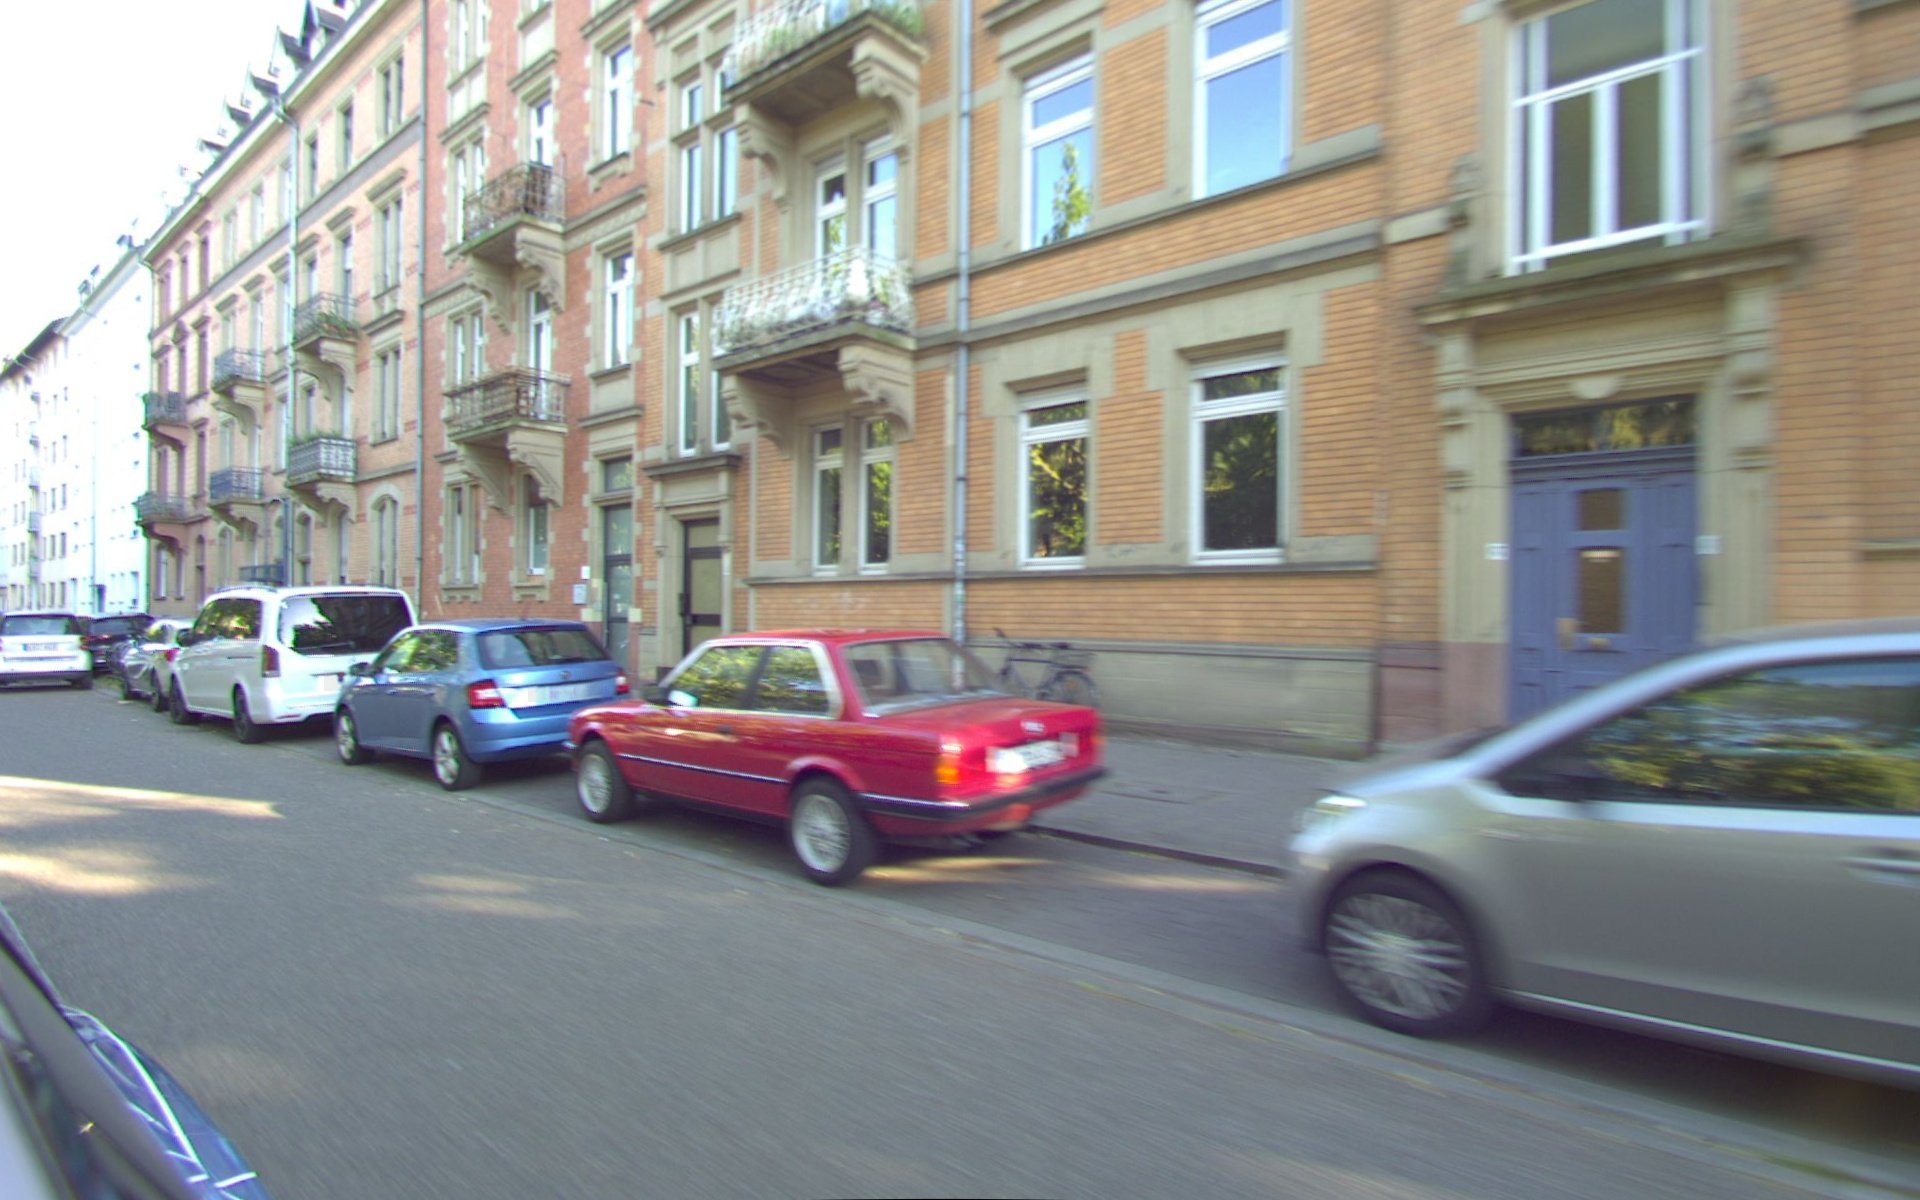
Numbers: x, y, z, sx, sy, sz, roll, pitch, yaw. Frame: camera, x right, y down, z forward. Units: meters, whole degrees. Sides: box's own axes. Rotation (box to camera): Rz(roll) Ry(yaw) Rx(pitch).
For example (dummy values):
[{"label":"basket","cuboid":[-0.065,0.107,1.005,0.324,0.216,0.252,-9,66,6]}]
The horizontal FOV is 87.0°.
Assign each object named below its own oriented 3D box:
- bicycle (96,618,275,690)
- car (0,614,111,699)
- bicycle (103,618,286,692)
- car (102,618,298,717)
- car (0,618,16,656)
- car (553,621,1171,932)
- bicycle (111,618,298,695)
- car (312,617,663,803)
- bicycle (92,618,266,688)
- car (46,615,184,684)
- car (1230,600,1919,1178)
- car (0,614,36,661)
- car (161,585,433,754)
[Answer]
[{"label":"bicycle","cuboid":[-17.044,1.173,22.371,0.817,1.496,3.003,-1,-3,42]},{"label":"car","cuboid":[-18.975,1.082,20.666,4.391,1.548,1.856,-1,0,41]},{"label":"bicycle","cuboid":[-16.394,1.166,21.769,0.817,1.496,3.003,-1,-3,42]},{"label":"car","cuboid":[-13.305,1.071,17.622,4.391,1.452,1.856,-1,0,41]},{"label":"car","cuboid":[-38.666,1.460,39.775,4.391,1.452,1.856,-1,0,41]},{"label":"car","cuboid":[-0.909,0.871,6.844,4.289,1.394,1.744,-1,0,43]},{"label":"bicycle","cuboid":[-15.743,1.159,21.203,0.817,1.496,3.003,-1,-3,42]},{"label":"car","cuboid":[-4.808,0.915,10.064,3.886,1.449,1.745,-1,0,41]},{"label":"bicycle","cuboid":[-17.654,1.179,22.980,0.817,1.496,3.003,-1,-3,42]},{"label":"car","cuboid":[-20.071,1.107,23.971,4.391,1.452,1.856,-1,0,41]},{"label":"car","cuboid":[2.991,0.758,3.328,3.708,1.486,1.666,-1,0,42]},{"label":"car","cuboid":[-34.927,1.336,36.523,4.391,1.580,1.856,-1,0,41]},{"label":"car","cuboid":[-9.098,0.805,13.714,4.723,1.897,1.887,-1,0,41]}]
